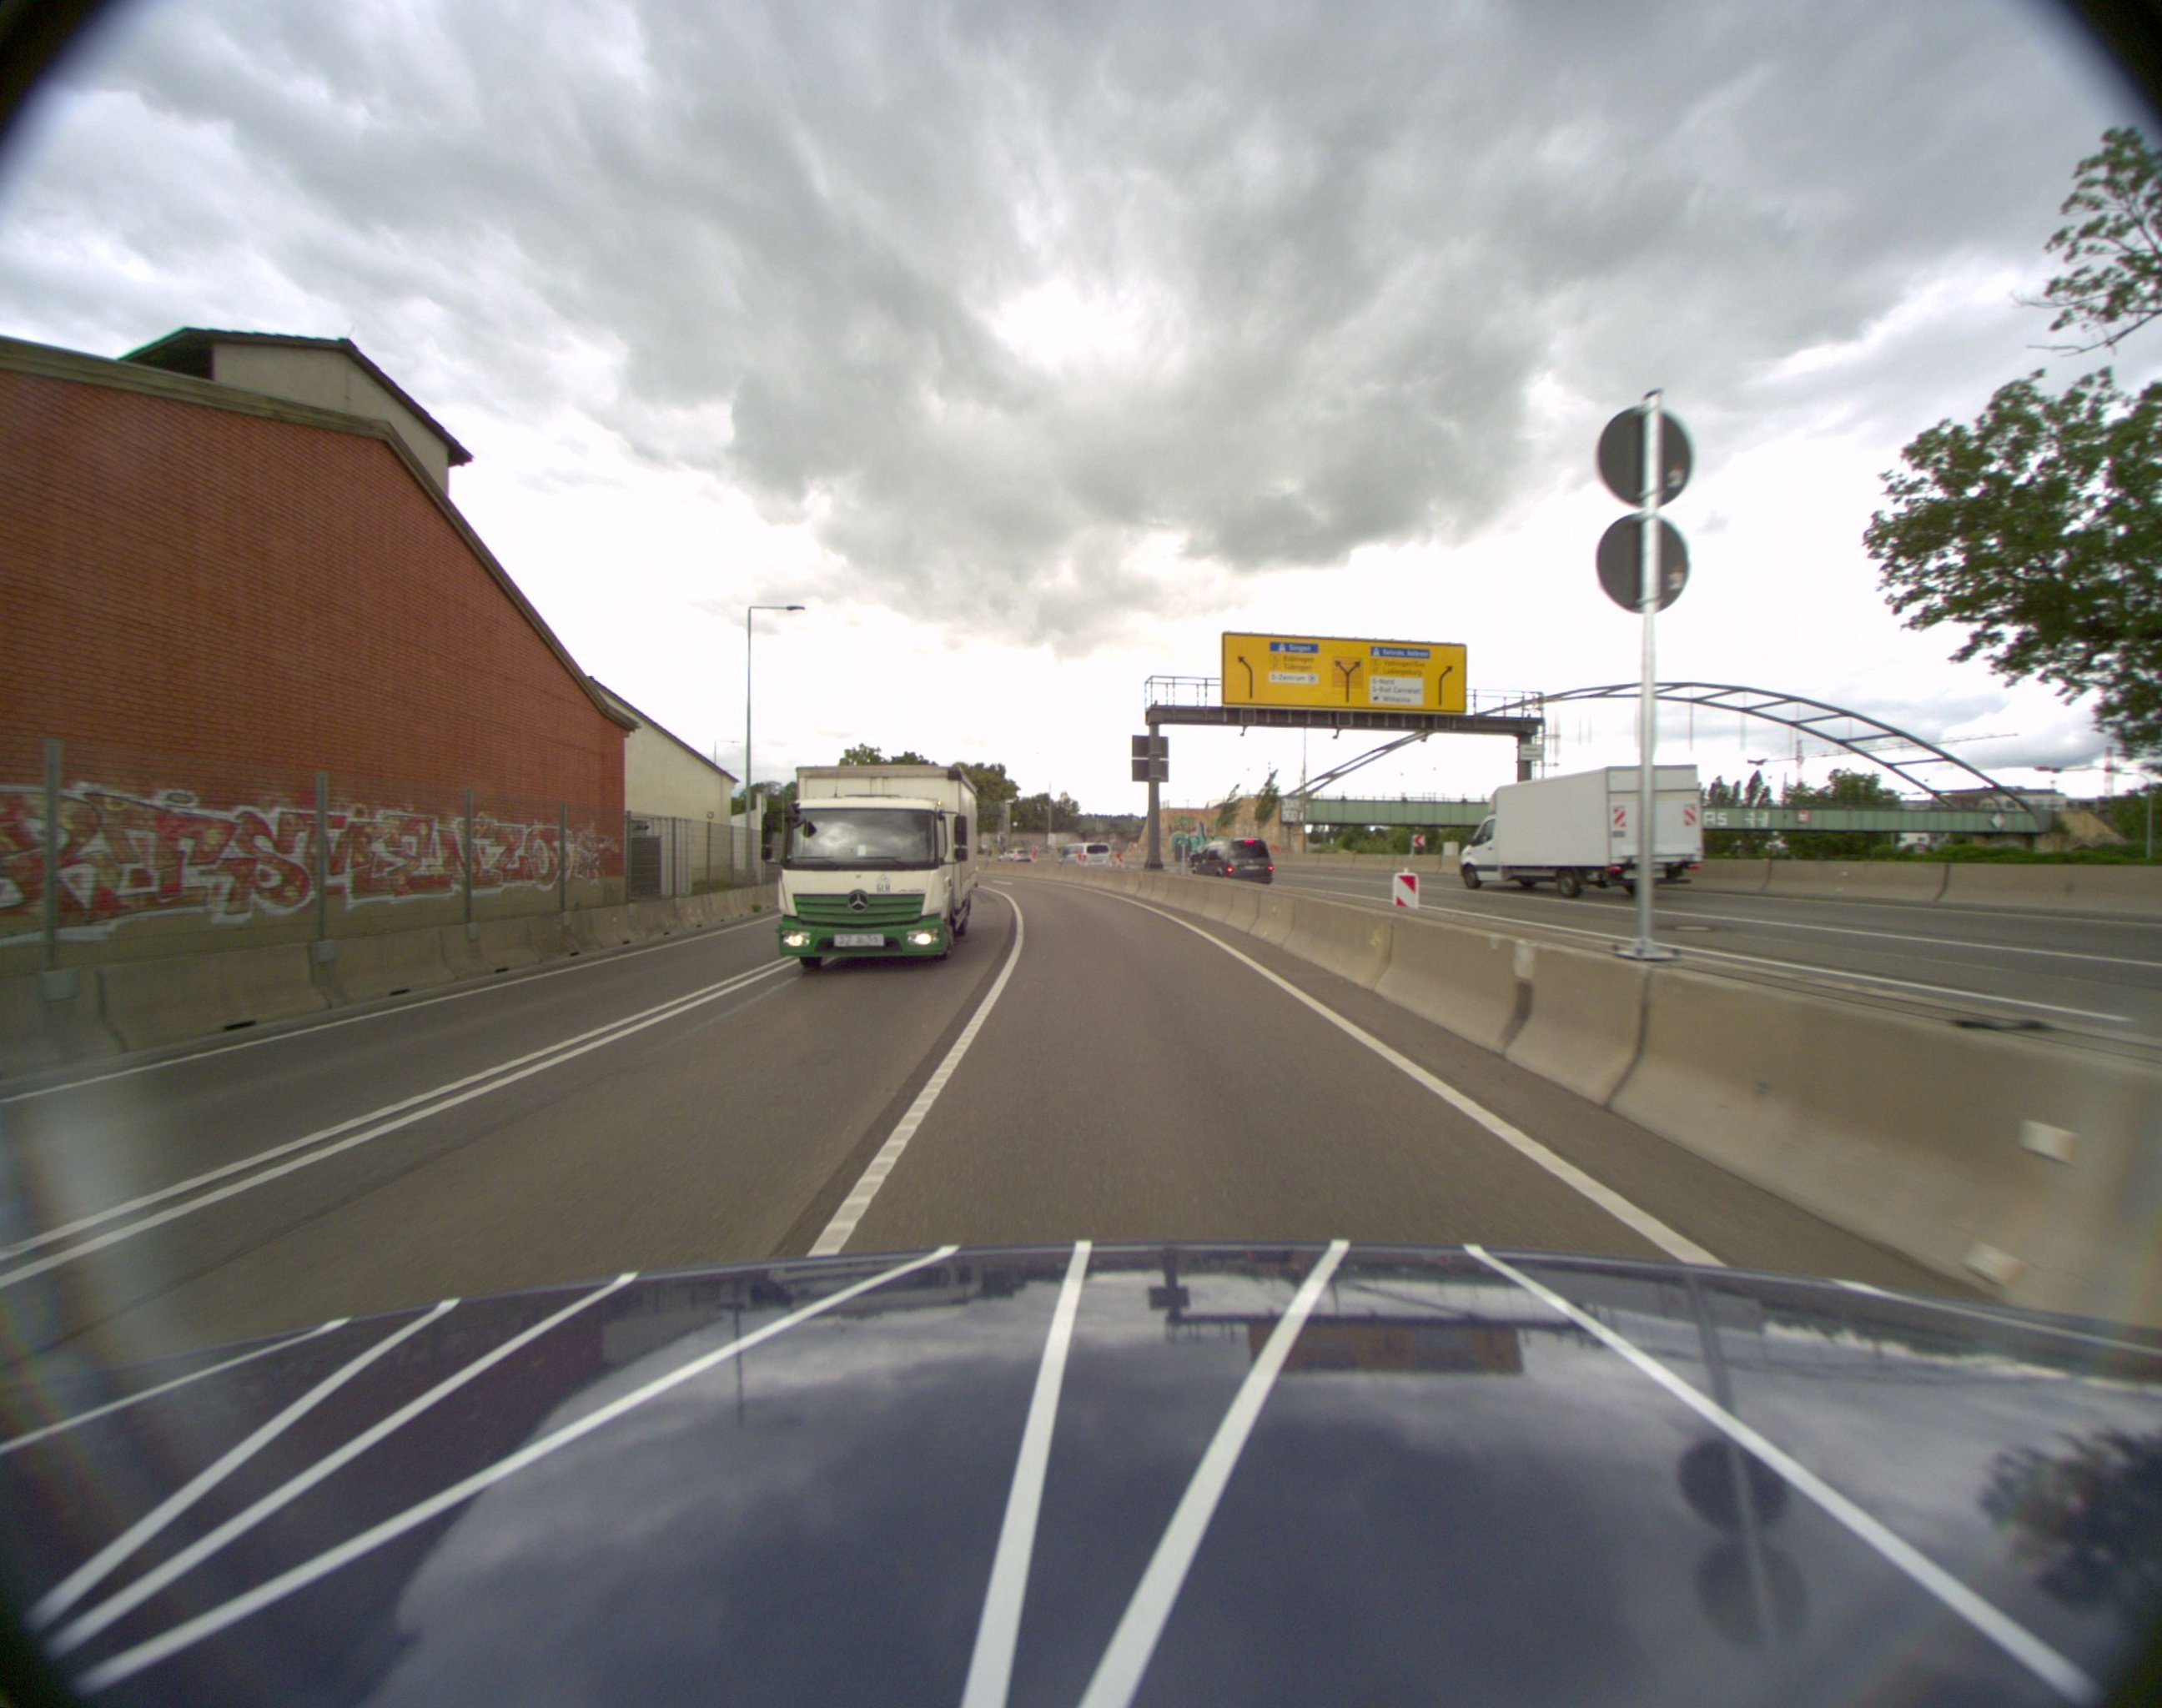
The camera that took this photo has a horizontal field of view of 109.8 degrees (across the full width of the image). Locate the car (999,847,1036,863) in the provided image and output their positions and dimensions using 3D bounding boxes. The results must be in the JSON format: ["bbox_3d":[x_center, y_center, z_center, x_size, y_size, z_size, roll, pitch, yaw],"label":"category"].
[{"bbox_3d":[-5.967,0.060,71.284,1.802,1.413,4.639,-3,1,-27],"label":"car"}]

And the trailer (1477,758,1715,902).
[{"bbox_3d":[12.893,-0.577,19.670,2.278,3.120,5.710,-2,1,0],"label":"trailer"}]

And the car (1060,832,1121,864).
[{"bbox_3d":[0.468,-0.347,47.064,1.959,1.796,5.783,-2,1,-18],"label":"car"}]

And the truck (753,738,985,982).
[{"bbox_3d":[-3.326,0.065,14.023,2.637,3.220,7.412,-2,0,-5],"label":"truck"}]

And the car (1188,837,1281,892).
[{"bbox_3d":[5.409,0.328,27.550,1.907,1.795,4.951,-1,1,-6],"label":"car"}]

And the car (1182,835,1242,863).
[{"bbox_3d":[8.397,-0.317,49.140,2.001,1.663,4.721,-2,1,-15],"label":"car"}]

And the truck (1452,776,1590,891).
[{"bbox_3d":[12.832,-0.595,22.397,2.278,3.096,2.986,-2,1,0],"label":"truck"}]
